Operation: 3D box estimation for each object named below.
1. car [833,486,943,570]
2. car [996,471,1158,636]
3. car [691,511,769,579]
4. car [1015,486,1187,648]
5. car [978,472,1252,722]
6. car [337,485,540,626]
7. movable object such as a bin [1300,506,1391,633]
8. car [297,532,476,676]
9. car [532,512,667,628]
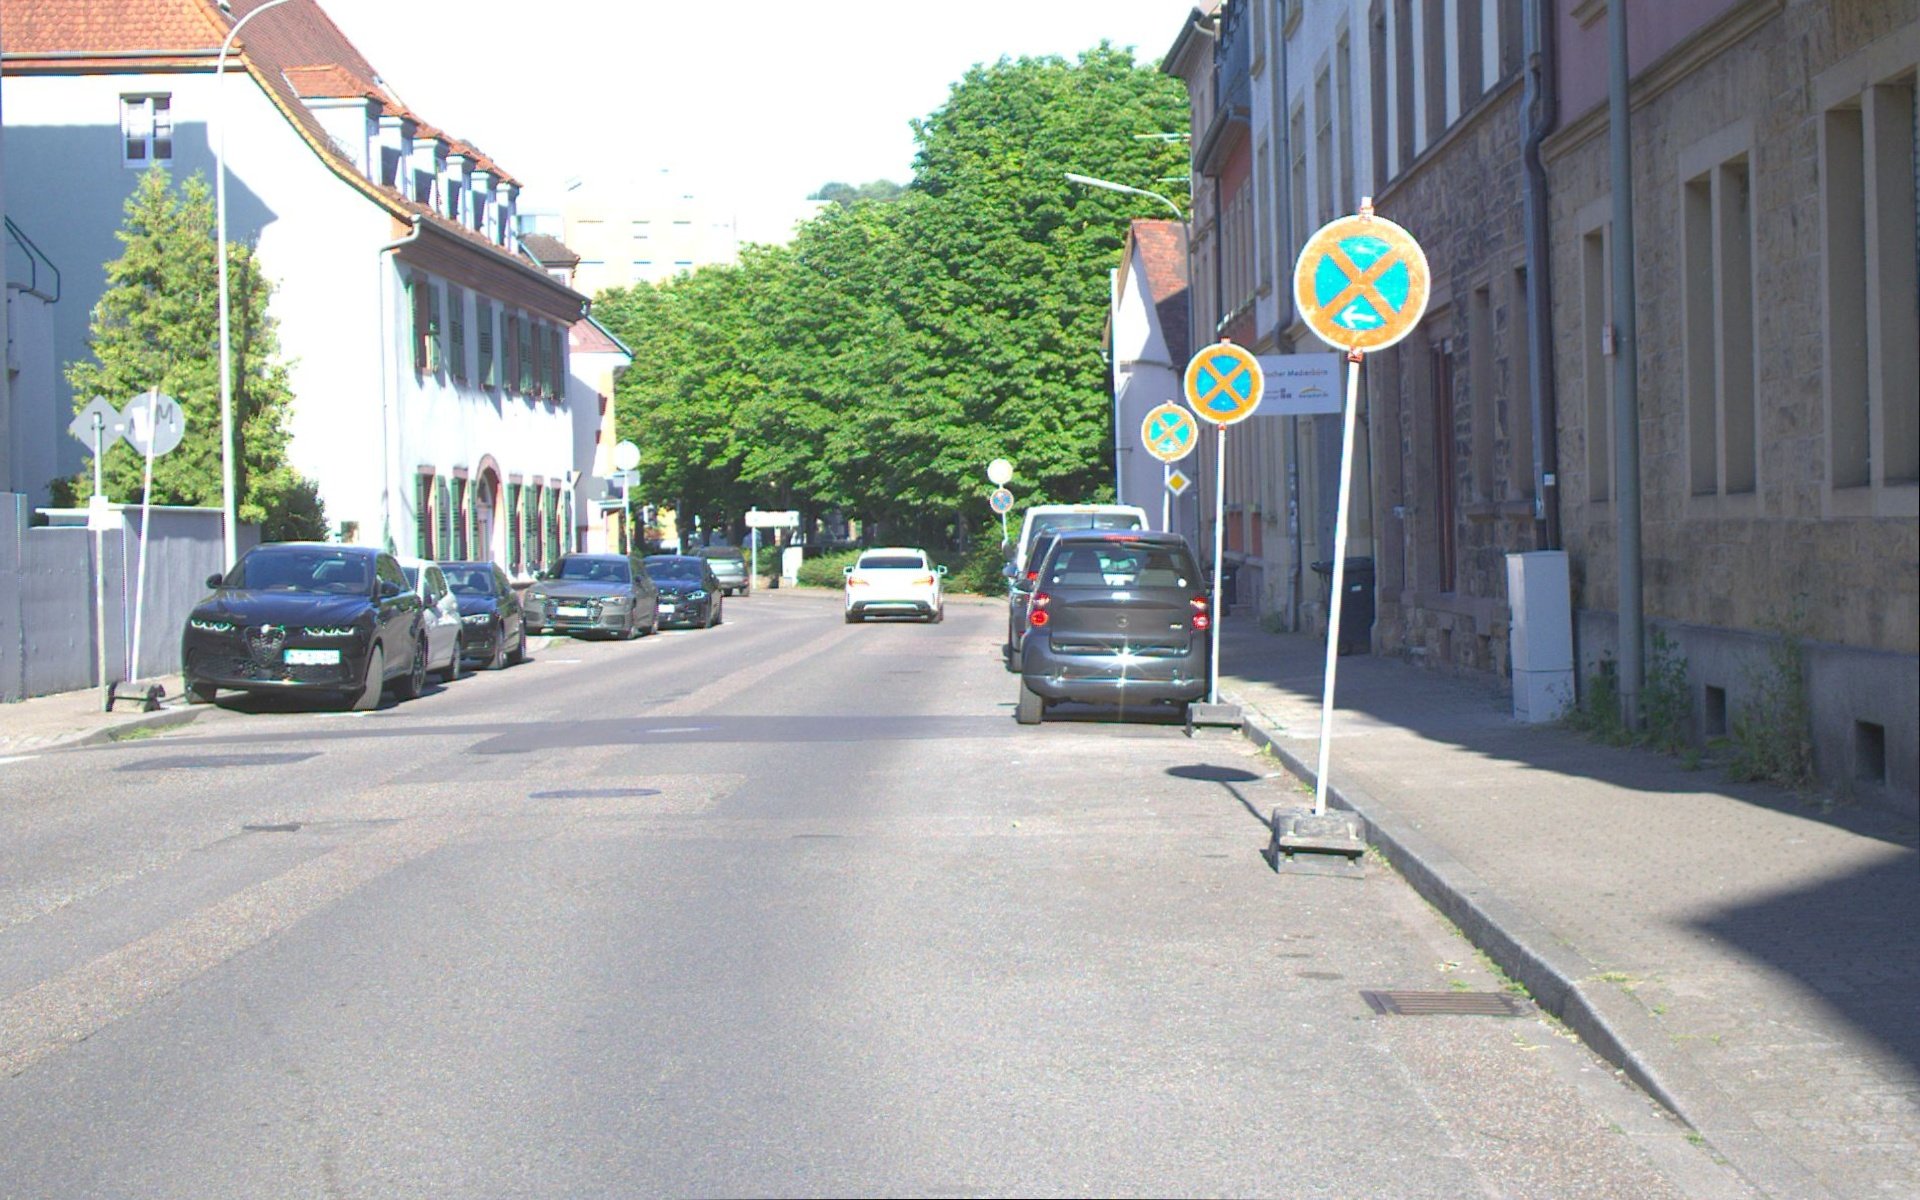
[{"bbox_3d":[-1.403,-1.395,65.317,1.993,1.461,4.001,-2,2,-2],"label":"car"},{"bbox_3d":[1.470,-0.649,44.623,1.841,1.899,4.001,-3,3,-1],"label":"car"},{"bbox_3d":[-7.386,-1.786,110.173,1.993,2.006,4.001,-2,2,-10],"label":"car"},{"bbox_3d":[1.648,-0.430,39.827,1.818,1.625,4.000,-2,3,3],"label":"car"},{"bbox_3d":[1.198,-0.094,28.347,2.011,1.846,4.001,0,3,-1],"label":"car"},{"bbox_3d":[-6.894,-0.630,45.823,2.092,1.625,3.822,-3,3,-1],"label":"car"},{"bbox_3d":[4.397,-0.350,39.240,0.871,1.373,0.685,-3,3,-3],"label":"movable object such as a bin"},{"bbox_3d":[-6.655,0.016,40.128,1.553,1.452,3.061,-3,3,-1],"label":"car"},{"bbox_3d":[-6.268,-0.560,60.194,1.910,1.753,4.129,-3,3,-1],"label":"car"}]
